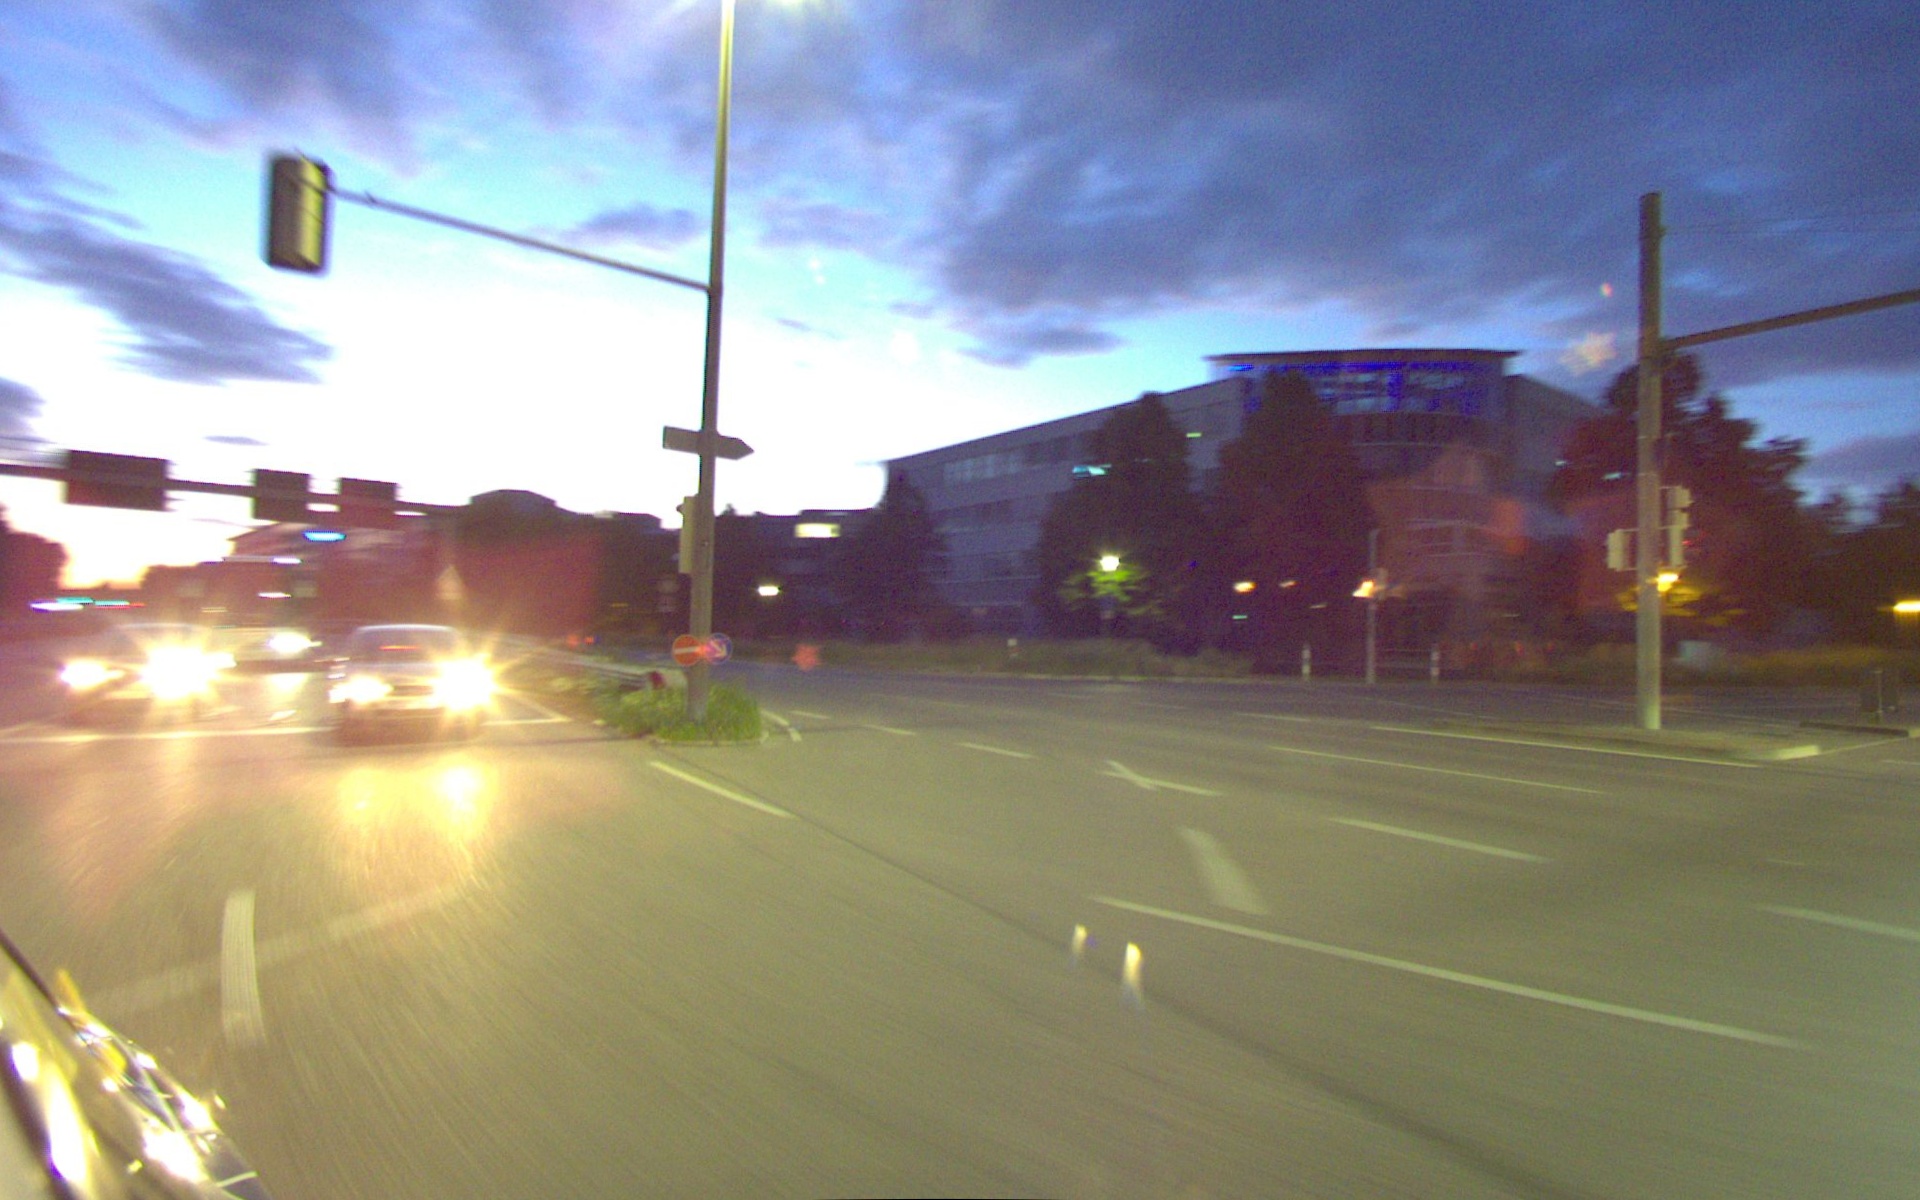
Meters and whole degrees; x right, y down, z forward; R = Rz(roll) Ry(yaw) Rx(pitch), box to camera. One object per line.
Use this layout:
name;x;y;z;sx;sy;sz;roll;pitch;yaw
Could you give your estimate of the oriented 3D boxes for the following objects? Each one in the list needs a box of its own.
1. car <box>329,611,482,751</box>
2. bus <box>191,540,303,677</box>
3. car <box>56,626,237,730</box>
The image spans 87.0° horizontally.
car;-7.956;1.023;14.420;1.643;1.665;4.424;1;-2;-31
bus;-23.725;0.365;34.037;2.572;3.819;12.308;1;-2;-34
car;-13.135;1.177;16.569;1.642;1.492;3.788;1;-2;-29
